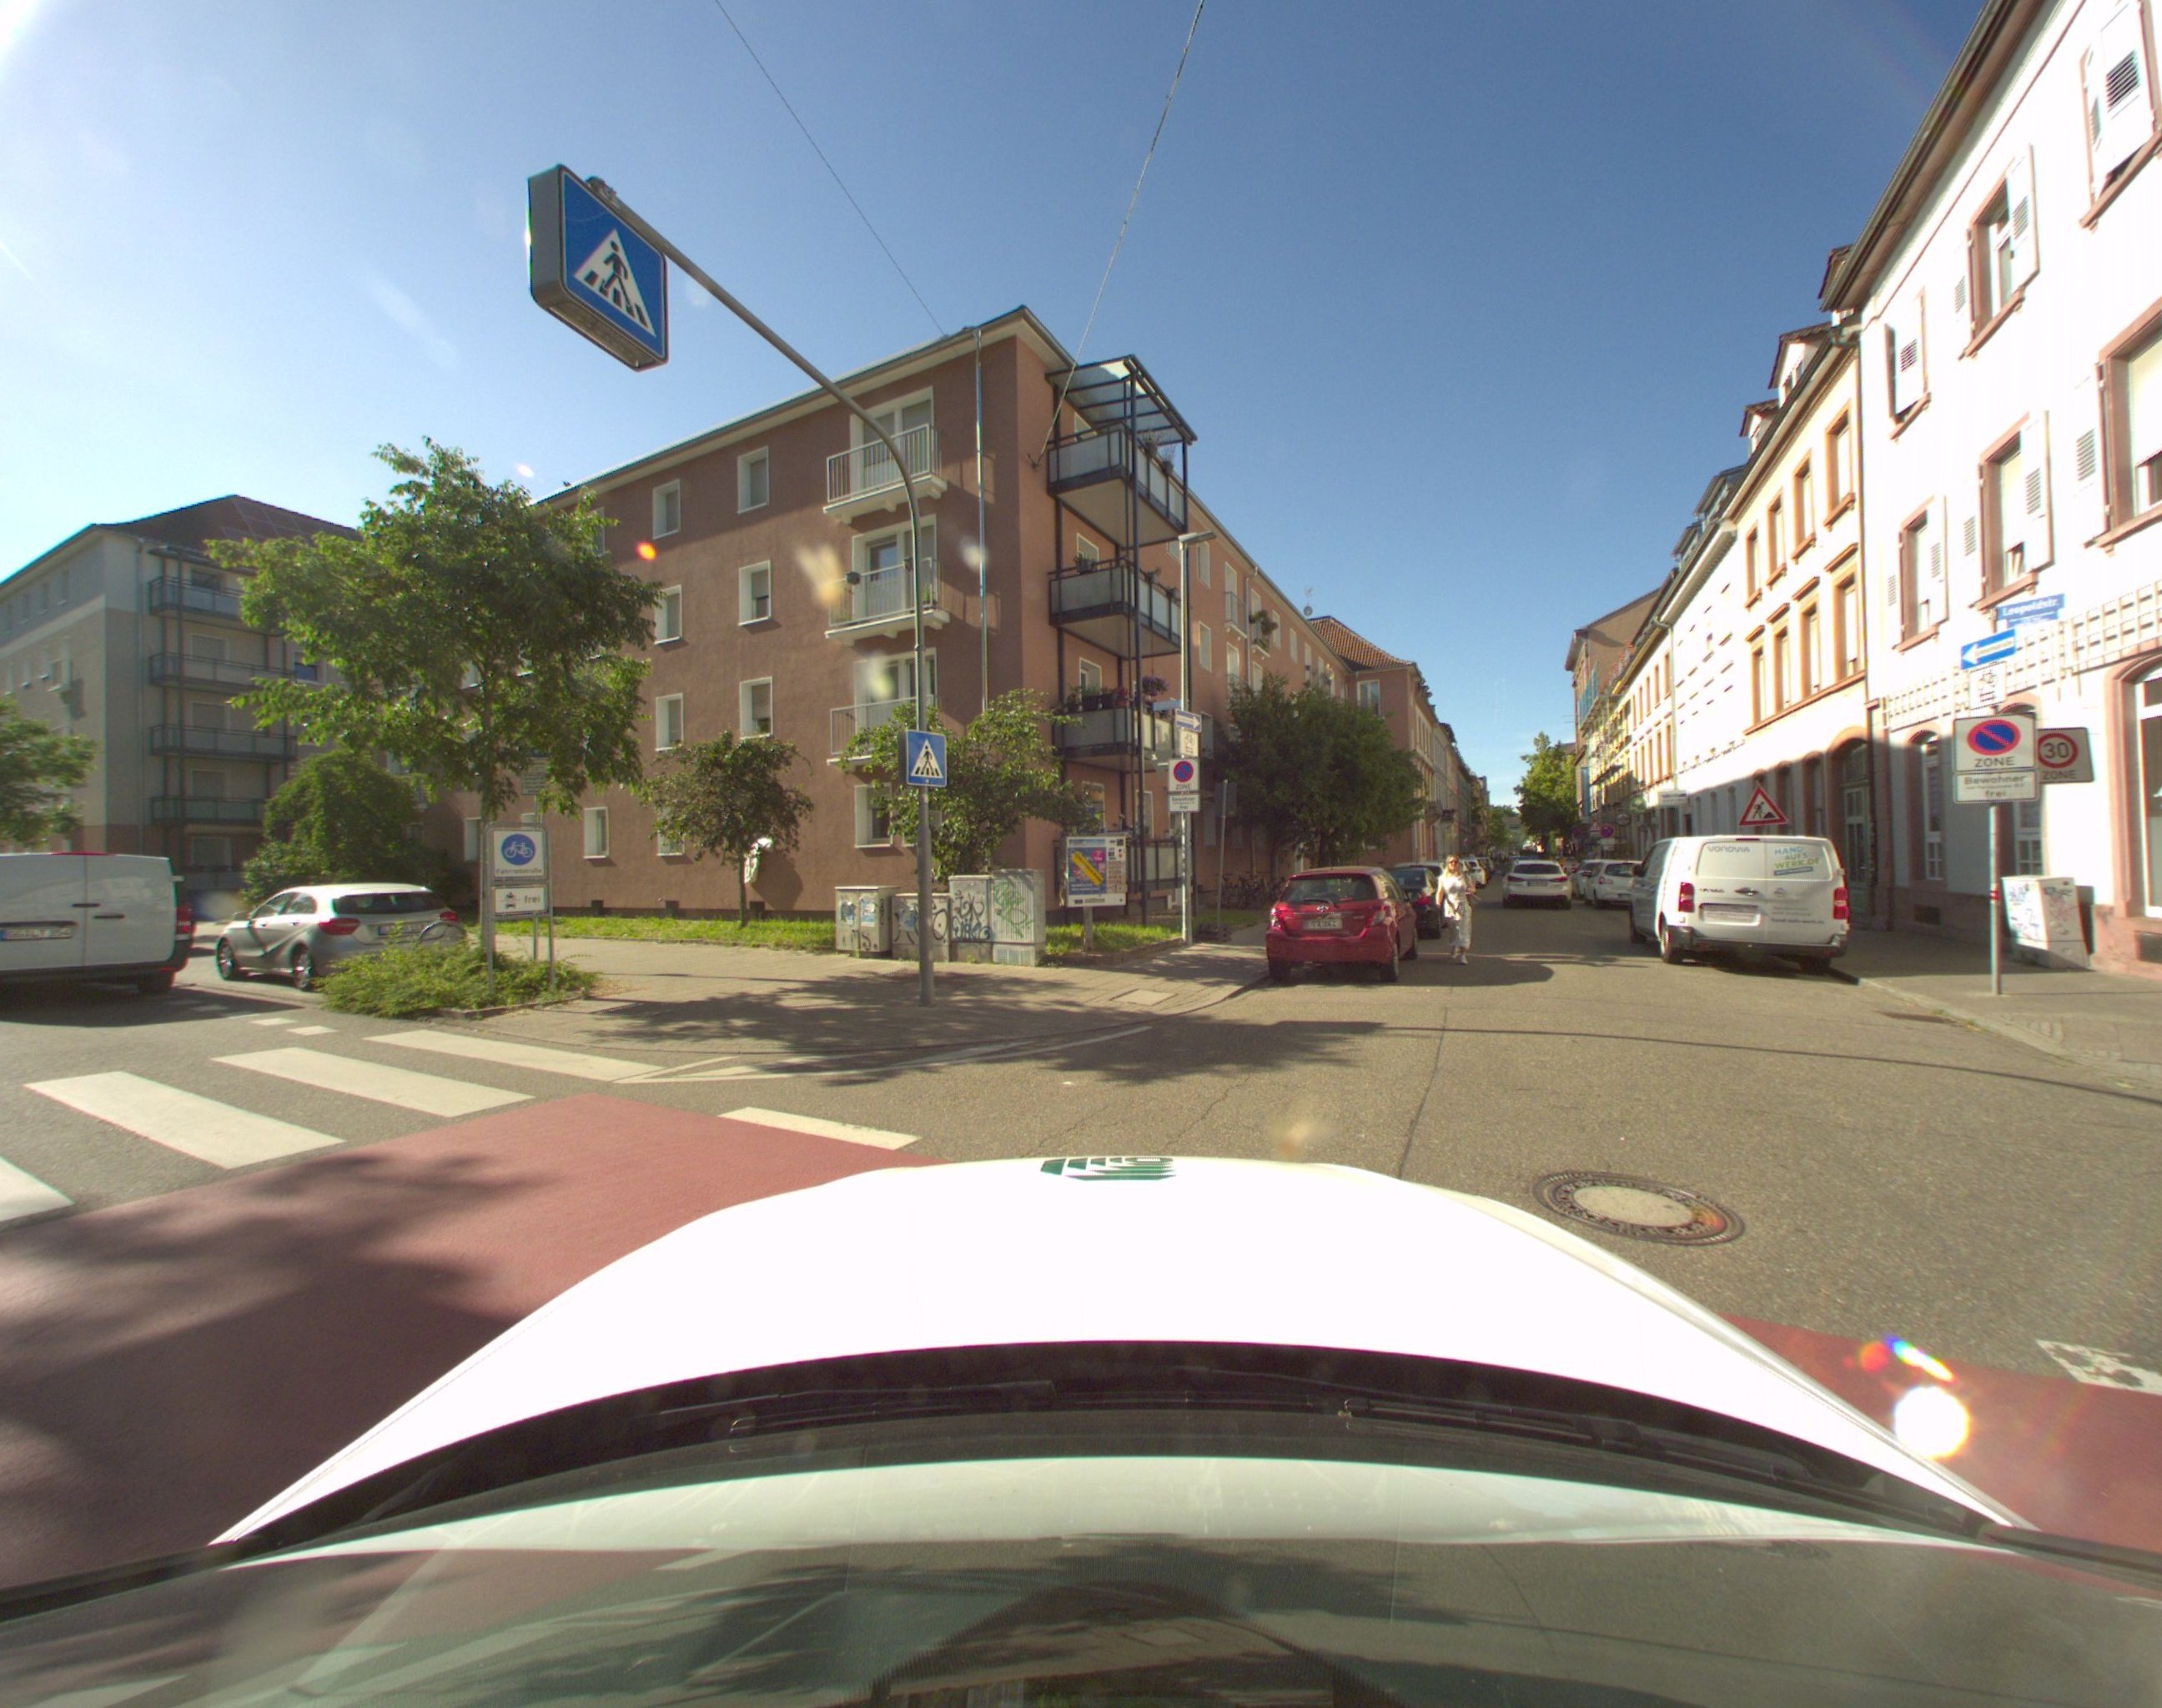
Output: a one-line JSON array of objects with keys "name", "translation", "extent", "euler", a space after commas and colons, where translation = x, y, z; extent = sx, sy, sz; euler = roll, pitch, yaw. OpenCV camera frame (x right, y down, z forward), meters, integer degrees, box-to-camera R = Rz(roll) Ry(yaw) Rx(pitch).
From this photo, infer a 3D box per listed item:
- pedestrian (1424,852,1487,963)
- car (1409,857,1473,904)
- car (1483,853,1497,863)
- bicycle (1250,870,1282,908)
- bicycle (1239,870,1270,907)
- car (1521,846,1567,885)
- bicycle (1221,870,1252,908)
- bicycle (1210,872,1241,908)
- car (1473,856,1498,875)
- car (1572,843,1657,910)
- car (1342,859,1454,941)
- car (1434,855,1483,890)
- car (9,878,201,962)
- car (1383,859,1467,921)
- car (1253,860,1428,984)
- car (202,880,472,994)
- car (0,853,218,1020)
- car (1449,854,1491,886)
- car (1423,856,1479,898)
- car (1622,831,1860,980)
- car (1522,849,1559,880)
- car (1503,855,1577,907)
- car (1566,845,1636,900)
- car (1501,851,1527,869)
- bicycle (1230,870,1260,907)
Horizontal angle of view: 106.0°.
[{"name": "pedestrian", "translation": [5.651, 0.787, 12.329], "extent": [0.727, 1.614, 0.820], "euler": [-2, -1, 17]}, {"name": "car", "translation": [12.358, 0.866, 27.852], "extent": [1.638, 1.500, 3.786], "euler": [-1, -1, 29]}, {"name": "car", "translation": [63.686, 0.620, 126.813], "extent": [1.638, 1.500, 3.786], "euler": [-1, -1, 29]}, {"name": "bicycle", "translation": [5.493, 1.027, 24.218], "extent": [0.253, 1.071, 1.211], "euler": [-1, -1, -22]}, {"name": "bicycle", "translation": [5.158, 1.004, 24.271], "extent": [0.253, 1.071, 1.208], "euler": [-1, -1, -22]}, {"name": "car", "translation": [23.393, 0.578, 41.119], "extent": [1.876, 1.859, 4.019], "euler": [-2, -1, 30]}, {"name": "bicycle", "translation": [4.574, 1.017, 24.047], "extent": [0.266, 1.072, 1.208], "euler": [-1, -1, -22]}, {"name": "bicycle", "translation": [4.228, 1.040, 23.934], "extent": [0.291, 1.035, 1.208], "euler": [-1, -1, -22]}, {"name": "car", "translation": [33.875, 0.948, 68.215], "extent": [1.638, 1.500, 3.786], "euler": [-1, -1, 29]}, {"name": "car", "translation": [16.275, 0.644, 25.033], "extent": [1.876, 1.859, 4.019], "euler": [-1, -1, 29]}, {"name": "car", "translation": [6.863, 0.885, 17.368], "extent": [1.638, 1.500, 4.105], "euler": [-1, -1, 29]}, {"name": "car", "translation": [16.787, 0.791, 36.161], "extent": [1.638, 1.500, 3.786], "euler": [-1, -1, 29]}, {"name": "car", "translation": [-20.567, 1.327, 17.135], "extent": [4.253, 1.519, 1.800], "euler": [-2, 0, 29]}, {"name": "car", "translation": [9.354, 0.919, 22.001], "extent": [1.638, 1.500, 3.786], "euler": [-1, -1, 29]}, {"name": "car", "translation": [3.988, 0.882, 12.099], "extent": [1.668, 1.500, 3.830], "euler": [-3, -1, 29]}, {"name": "car", "translation": [-11.386, 1.163, 12.425], "extent": [4.102, 1.454, 1.756], "euler": [-2, -1, 28]}, {"name": "car", "translation": [-14.442, 0.996, 11.234], "extent": [5.356, 1.907, 2.120], "euler": [-1, -1, 28]}, {"name": "car", "translation": [19.501, 0.777, 40.753], "extent": [1.638, 1.500, 3.786], "euler": [-1, -1, 29]}, {"name": "car", "translation": [14.382, 0.845, 31.530], "extent": [1.638, 1.500, 3.786], "euler": [-1, -1, 29]}, {"name": "car", "translation": [10.059, 0.638, 12.899], "extent": [1.877, 1.859, 5.044], "euler": [1, 0, 27]}, {"name": "car", "translation": [28.240, 0.636, 50.058], "extent": [1.876, 1.859, 4.019], "euler": [-1, -1, 29]}, {"name": "car", "translation": [14.151, 0.795, 25.161], "extent": [1.813, 1.457, 3.986], "euler": [-1, -1, 29]}, {"name": "car", "translation": [18.967, 0.637, 29.845], "extent": [1.876, 1.859, 4.019], "euler": [-1, -1, 29]}, {"name": "car", "translation": [35.189, 0.495, 66.115], "extent": [1.744, 1.410, 4.354], "euler": [-1, -1, 29]}, {"name": "bicycle", "translation": [4.860, 1.018, 24.157], "extent": [0.253, 1.071, 1.208], "euler": [-1, -1, -22]}]
